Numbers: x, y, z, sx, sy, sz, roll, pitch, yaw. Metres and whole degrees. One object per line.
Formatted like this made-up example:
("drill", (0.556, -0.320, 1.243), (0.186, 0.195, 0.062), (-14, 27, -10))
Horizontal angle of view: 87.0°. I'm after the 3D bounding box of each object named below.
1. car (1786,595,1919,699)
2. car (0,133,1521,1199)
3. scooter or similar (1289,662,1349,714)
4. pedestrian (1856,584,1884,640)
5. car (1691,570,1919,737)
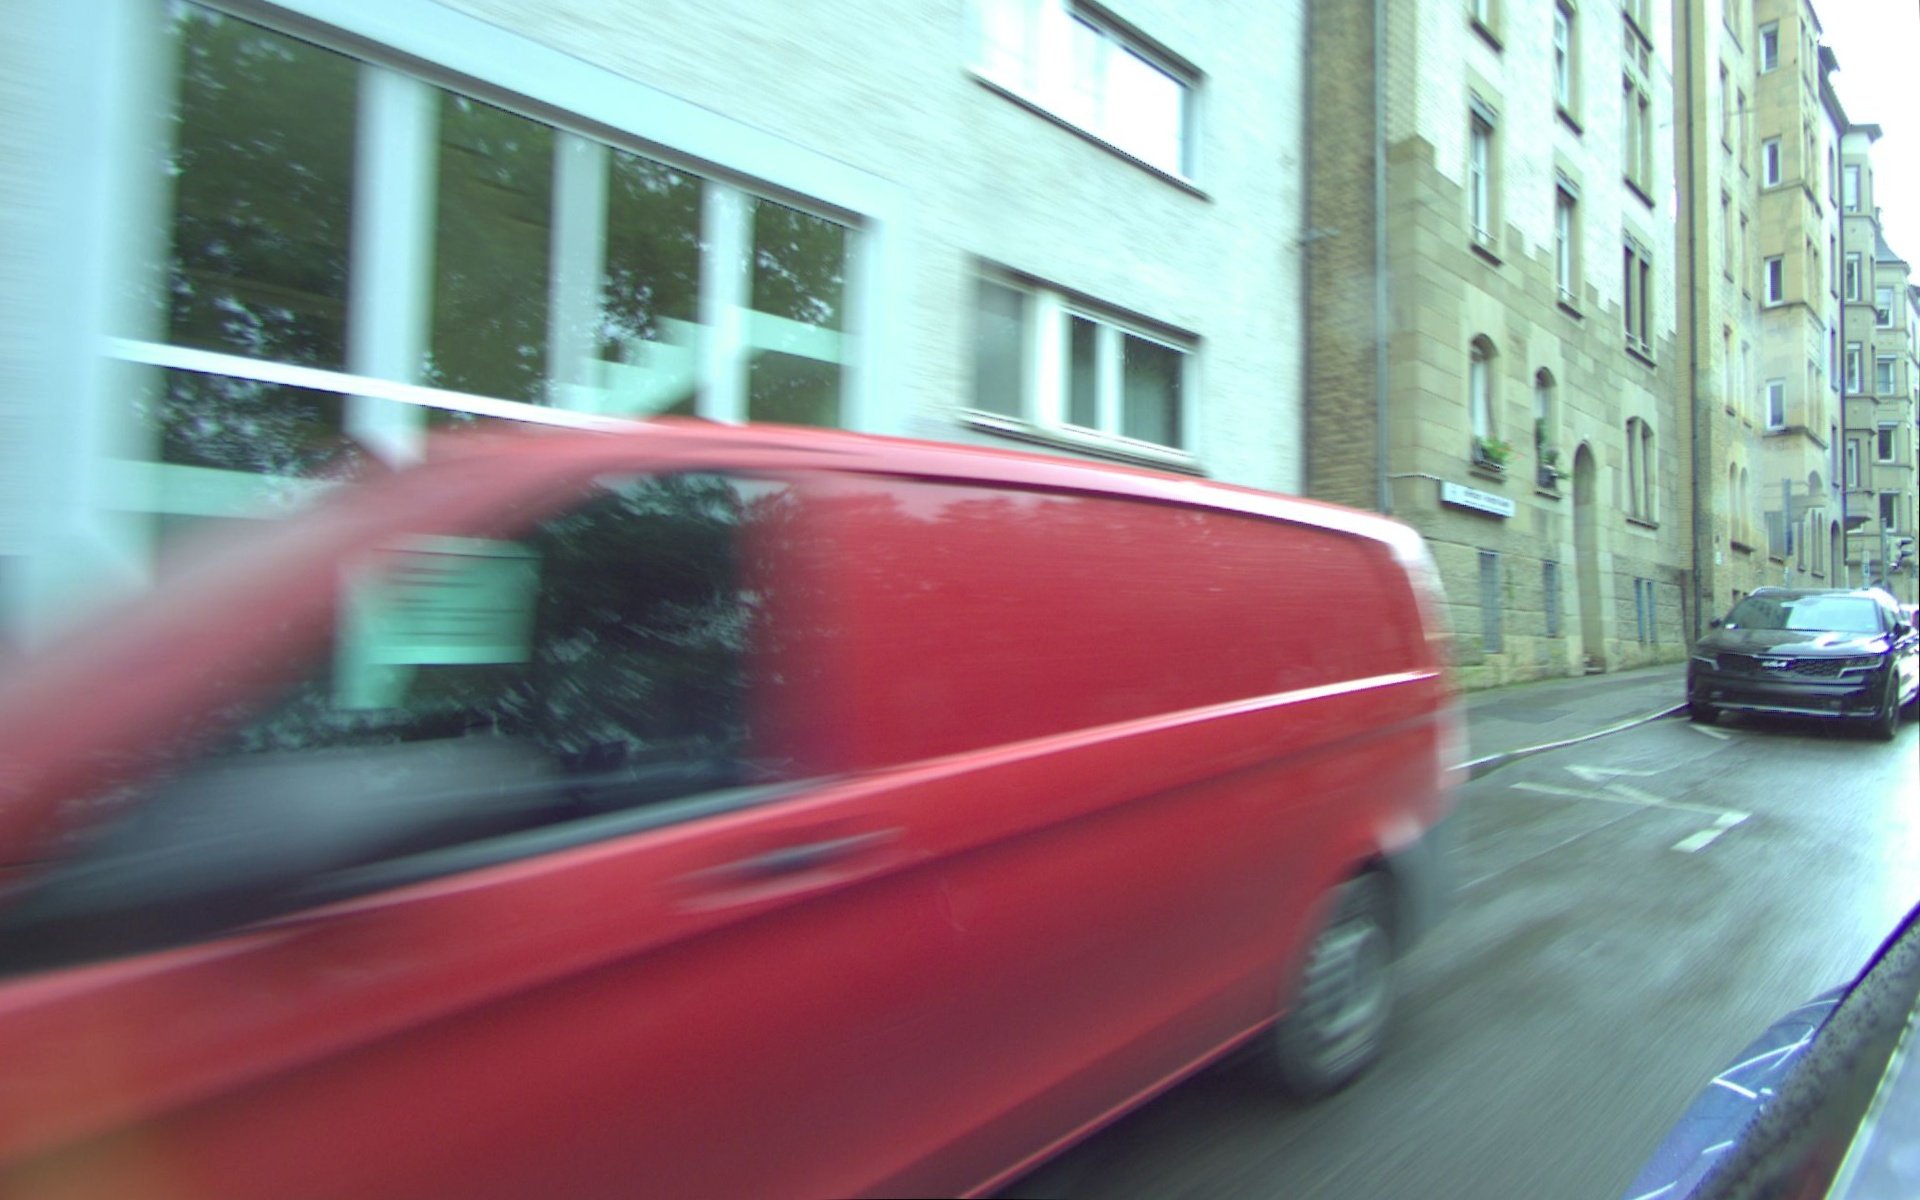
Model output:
("car", (14.739, 0.672, 16.155), (3.544, 1.471, 1.665), (-1, -1, -39))
("car", (-0.485, 0.484, 2.708), (5.157, 1.861, 1.977), (0, 0, -43))
("scooter or similar", (4.069, 0.989, 11.507), (0.253, 0.513, 0.862), (0, 0, -10))
("pedestrian", (29.149, 0.375, 32.406), (0.564, 1.774, 0.579), (3, -2, -40))
("car", (10.819, 0.587, 12.614), (4.419, 1.730, 1.769), (1, -1, -40))
